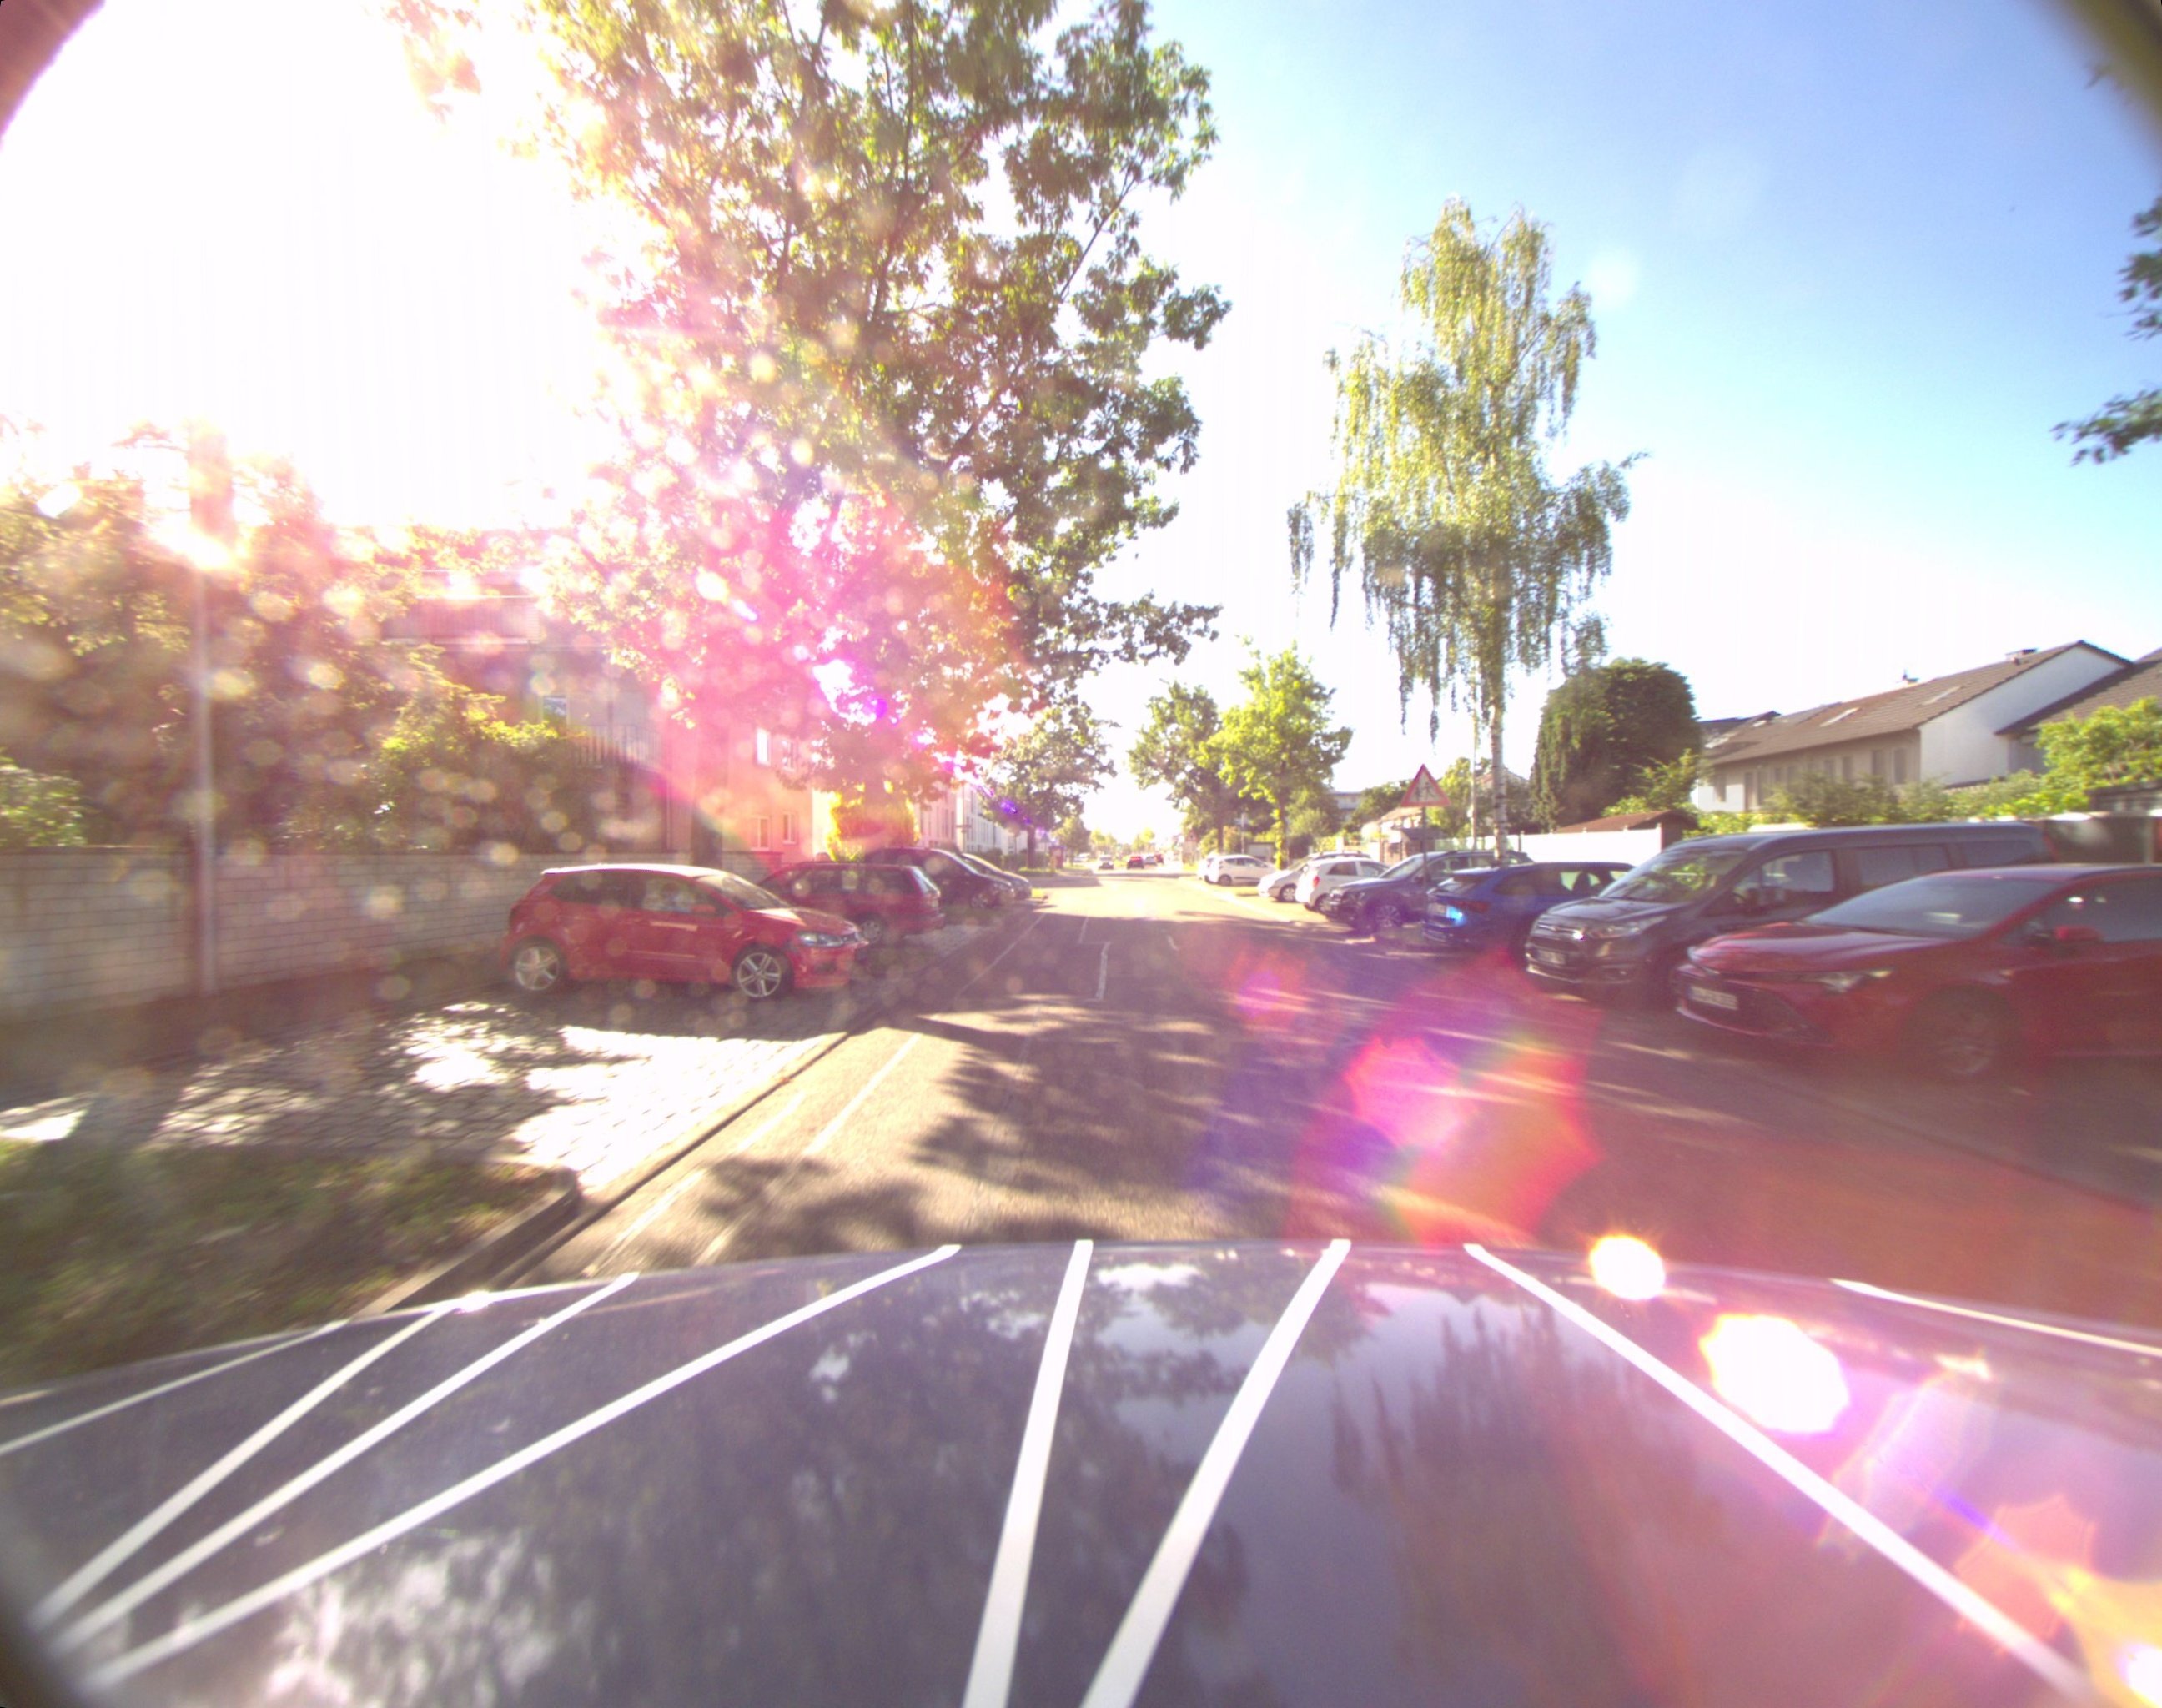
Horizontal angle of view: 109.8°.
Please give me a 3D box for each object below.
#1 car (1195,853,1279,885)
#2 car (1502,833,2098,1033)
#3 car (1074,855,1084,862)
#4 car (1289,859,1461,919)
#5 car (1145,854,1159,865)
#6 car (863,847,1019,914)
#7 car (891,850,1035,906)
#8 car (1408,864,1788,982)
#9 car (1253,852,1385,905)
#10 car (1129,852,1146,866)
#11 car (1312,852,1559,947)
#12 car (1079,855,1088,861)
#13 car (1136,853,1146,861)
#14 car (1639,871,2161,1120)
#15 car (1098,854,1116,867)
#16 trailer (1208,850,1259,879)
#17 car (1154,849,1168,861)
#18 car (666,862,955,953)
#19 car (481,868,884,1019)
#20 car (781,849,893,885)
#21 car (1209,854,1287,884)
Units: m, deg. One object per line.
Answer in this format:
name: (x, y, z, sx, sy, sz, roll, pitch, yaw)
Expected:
car: (8.321, 0.782, 40.697, 3.964, 1.565, 1.921, -2, 1, -5)
car: (7.397, 0.760, 8.180, 4.685, 1.758, 1.795, -2, 0, 0)
car: (-0.403, 0.991, 161.485, 1.944, 1.412, 4.000, 0, 1, 4)
car: (7.915, 0.923, 20.735, 4.011, 1.506, 1.795, 0, 0, 3)
car: (9.152, 0.711, 98.054, 1.765, 1.390, 3.852, 0, 0, 4)
car: (-4.065, 0.743, 22.576, 4.222, 1.771, 1.789, 2, 0, 1)
car: (-3.924, 0.768, 25.727, 4.514, 1.670, 1.879, 2, 1, 1)
car: (7.254, 0.931, 10.999, 4.282, 1.416, 1.724, -2, 0, 1)
car: (8.028, 0.808, 25.879, 3.948, 1.604, 1.706, -2, 0, 3)
car: (5.979, 0.517, 80.886, 1.741, 1.532, 3.947, 0, 0, 3)
car: (7.156, 0.882, 15.638, 4.220, 1.714, 1.761, -2, 0, 1)
car: (0.548, 0.850, 167.976, 1.830, 1.324, 3.678, 0, 0, 5)
car: (11.222, 0.595, 142.430, 1.877, 1.470, 3.851, 0, 1, 3)
car: (7.170, 0.935, 5.723, 4.486, 1.491, 1.837, -1, 0, 4)
car: (2.908, 0.700, 83.627, 1.877, 1.469, 3.851, 0, 0, 4)
trailer: (9.167, 0.644, 45.816, 2.766, 1.638, 1.299, -1, 2, -3)
car: (10.986, 0.136, 104.775, 1.765, 1.469, 3.852, -2, 0, 4)
car: (-4.712, 0.914, 13.691, 4.513, 1.437, 1.838, 1, 0, 2)
car: (-4.447, 0.952, 8.894, 3.786, 1.475, 1.755, 1, 1, 2)
car: (-12.632, 0.656, 39.588, 5.208, 1.805, 1.912, 0, 1, -2)
car: (8.354, 0.747, 38.121, 3.523, 1.487, 1.708, 0, 0, 0)
